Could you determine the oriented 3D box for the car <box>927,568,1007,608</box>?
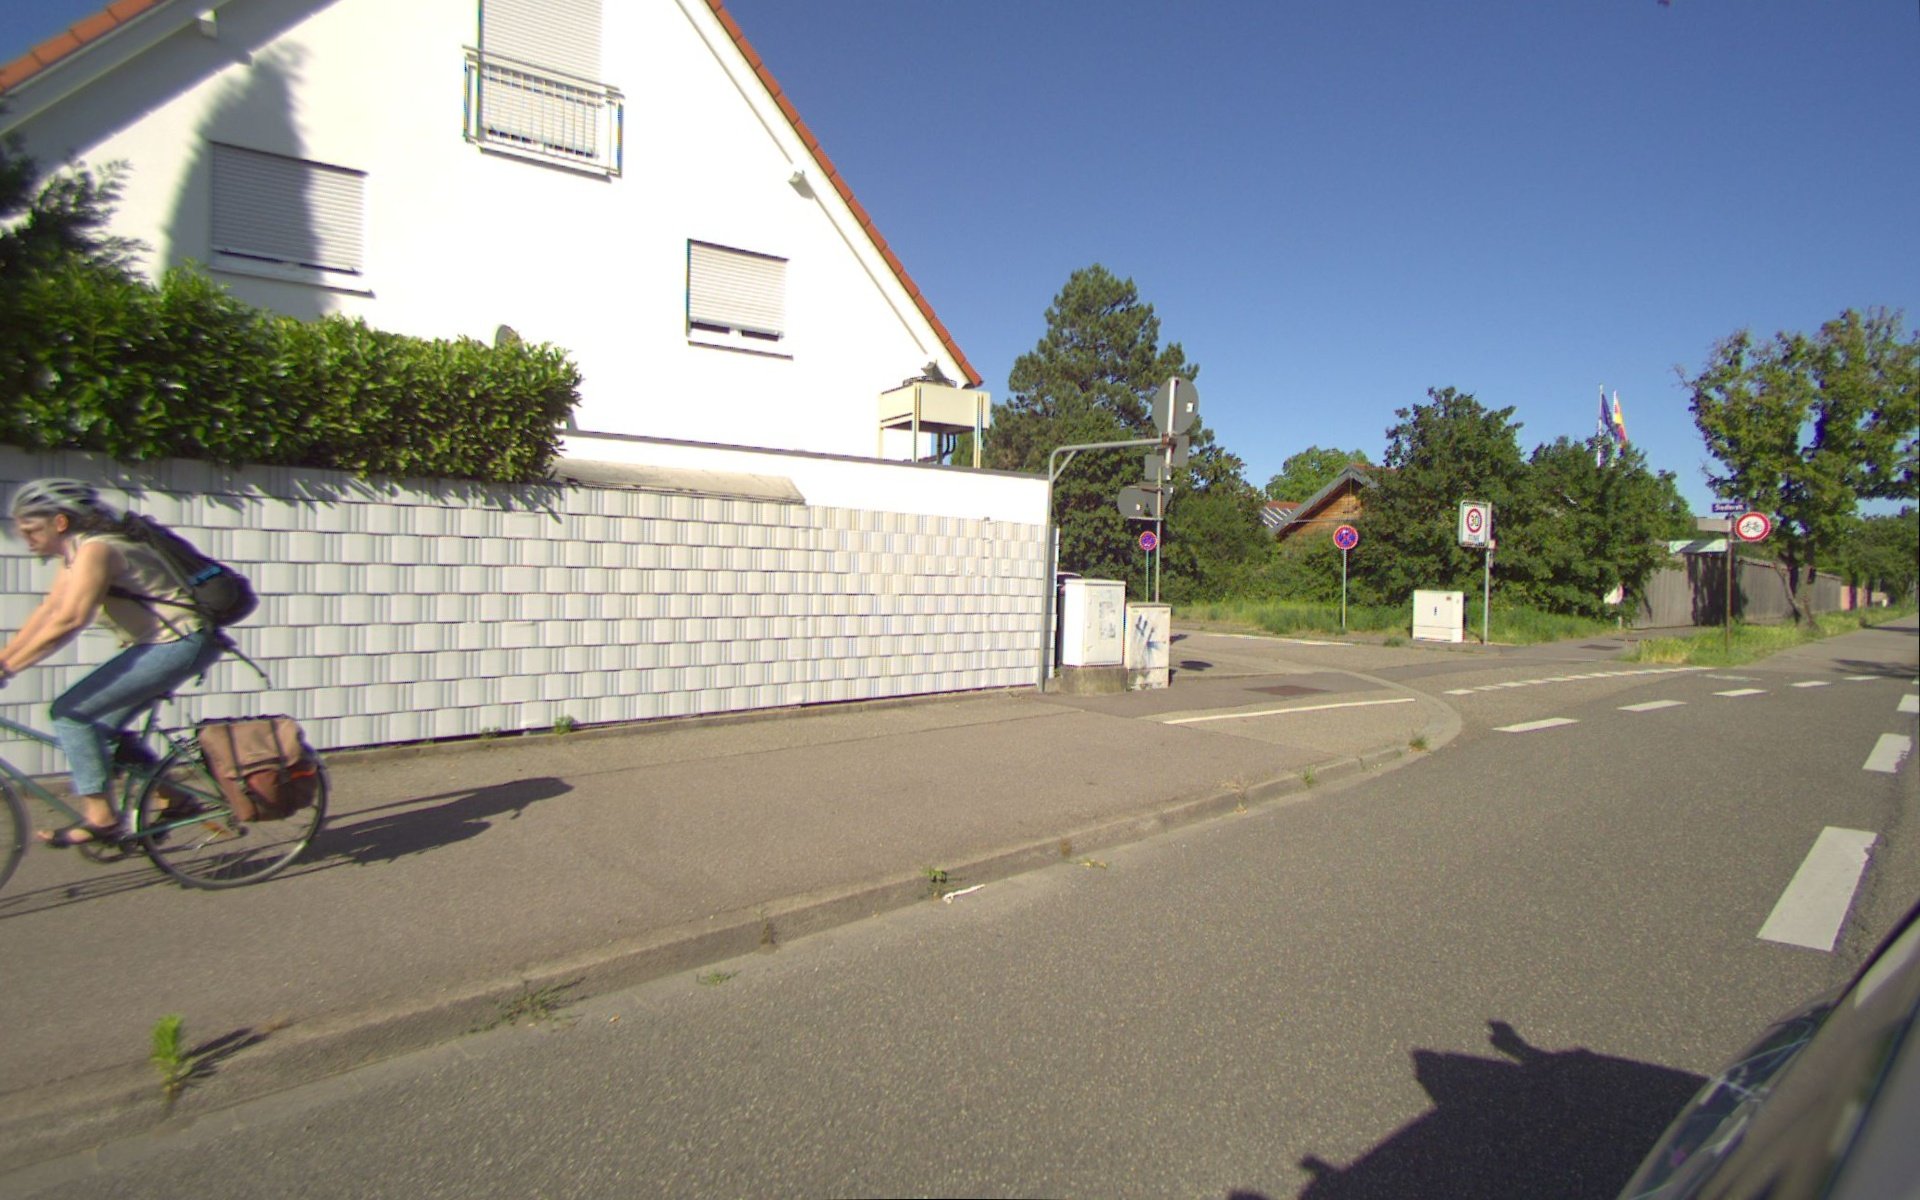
[{"bbox_3d":[0.222,-0.490,40.433,1.745,1.502,3.758,1,1,-25],"label":"car"}]

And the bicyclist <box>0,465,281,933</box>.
[{"bbox_3d":[-3.330,0.332,4.015,0.965,1.652,0.631,0,3,-42],"label":"bicyclist"}]

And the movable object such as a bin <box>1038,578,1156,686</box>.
[{"bbox_3d":[1.691,0.362,12.535,1.043,1.219,1.005,-1,3,-37],"label":"movable object such as a bin"}]

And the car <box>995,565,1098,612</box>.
[{"bbox_3d":[2.908,-0.359,34.850,1.805,1.503,3.930,1,-1,-25],"label":"car"}]

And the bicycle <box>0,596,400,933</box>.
[{"bbox_3d":[-3.440,0.588,3.950,2.104,1.169,0.575,0,3,-42],"label":"bicycle"}]
